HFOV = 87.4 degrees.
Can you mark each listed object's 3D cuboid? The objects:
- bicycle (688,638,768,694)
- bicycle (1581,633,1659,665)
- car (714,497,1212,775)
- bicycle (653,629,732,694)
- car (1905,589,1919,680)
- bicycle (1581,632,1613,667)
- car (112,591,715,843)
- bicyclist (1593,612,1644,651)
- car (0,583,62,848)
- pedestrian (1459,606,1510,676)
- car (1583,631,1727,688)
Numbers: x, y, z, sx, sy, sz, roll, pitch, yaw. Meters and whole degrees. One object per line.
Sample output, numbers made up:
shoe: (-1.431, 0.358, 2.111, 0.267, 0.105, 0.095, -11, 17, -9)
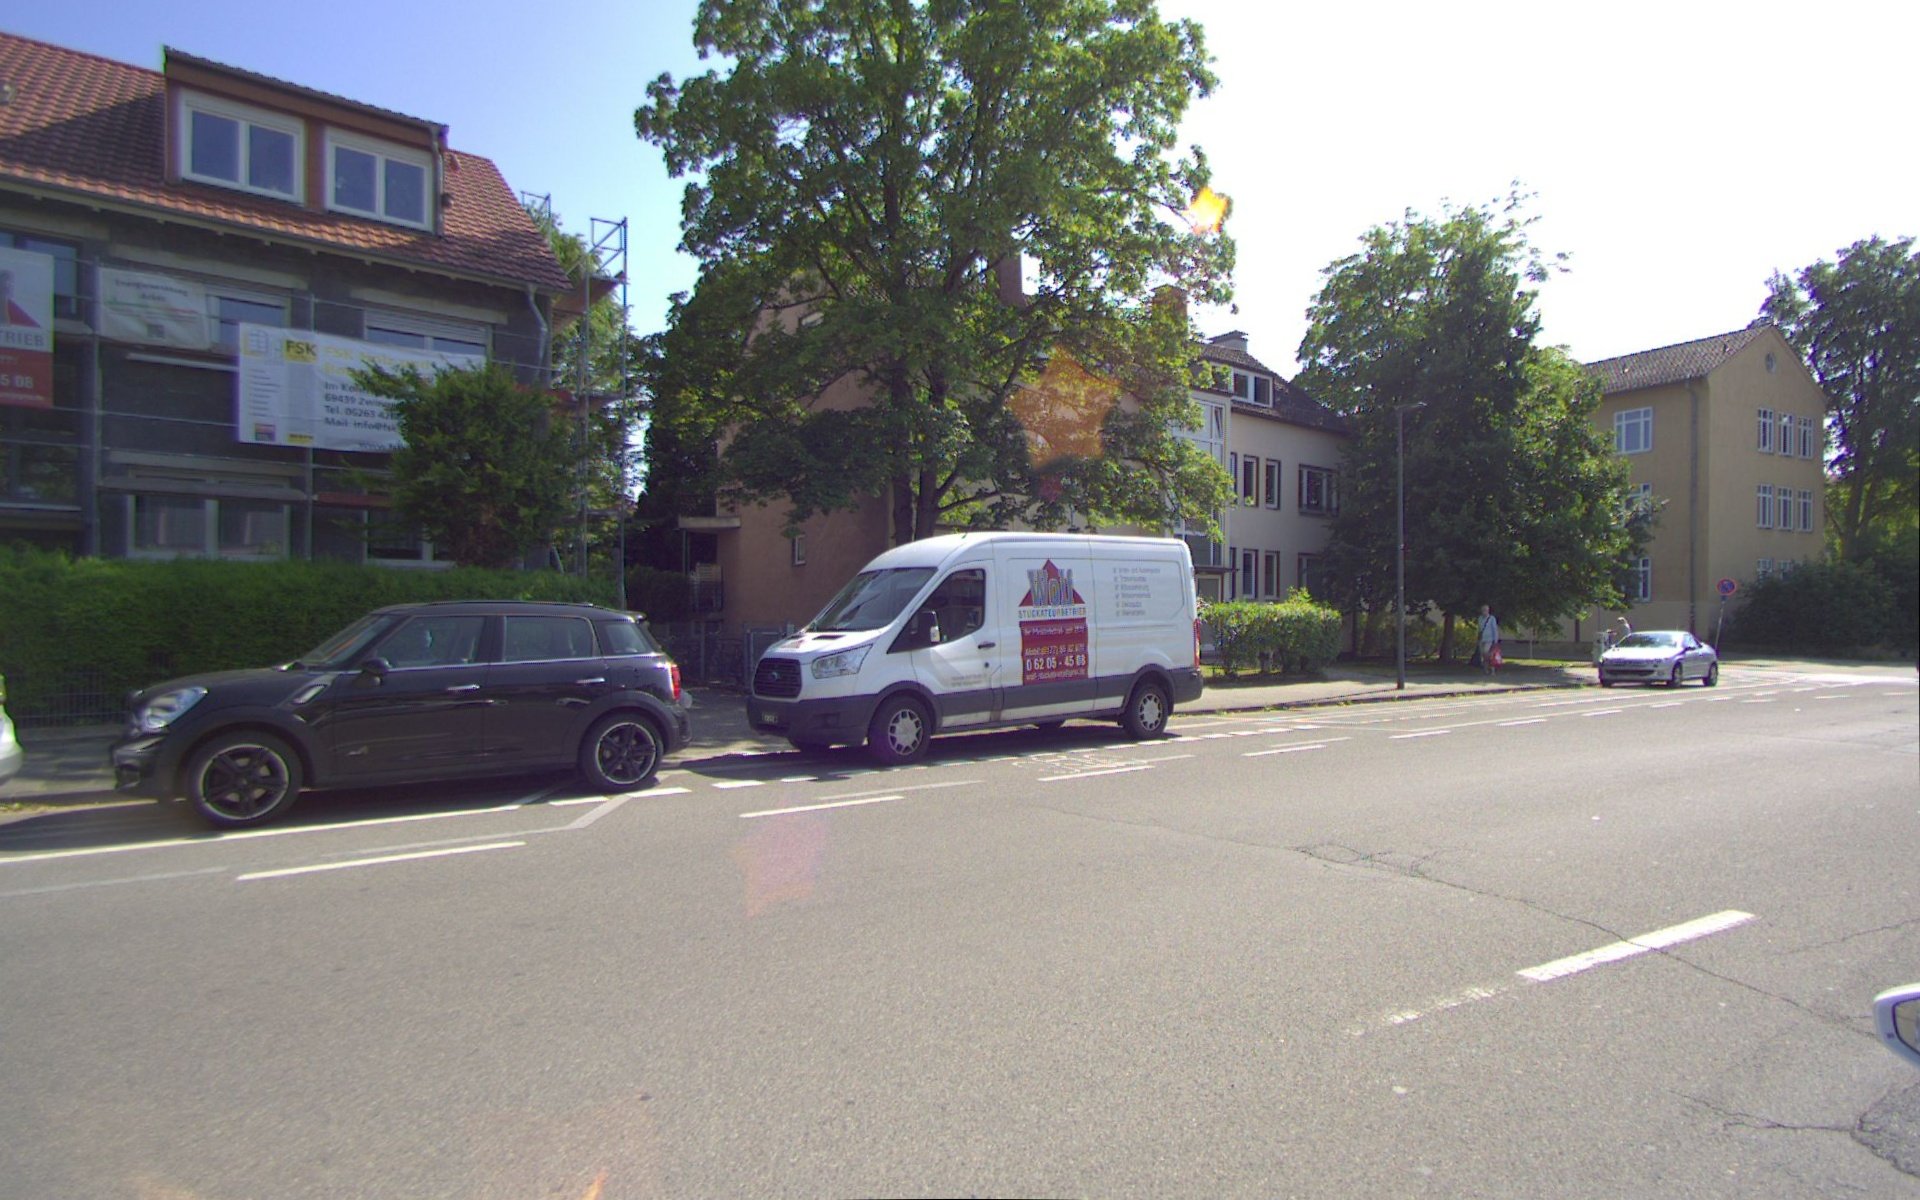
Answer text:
bicycle: (-4.880, 1.336, 20.980, 0.767, 1.014, 2.676, 1, -1, -33)
bicycle: (24.694, 1.808, 37.654, 0.943, 1.128, 2.548, 0, -1, -10)
car: (0.289, 0.375, 11.823, 5.901, 2.529, 2.073, 1, -2, -39)
bicycle: (-5.516, 1.223, 20.551, 0.767, 1.186, 2.676, 1, -1, -33)
car: (28.270, 0.897, 25.834, 2.238, 2.557, 6.137, 0, -2, 1)
bicycle: (21.136, 1.624, 33.355, 0.370, 1.095, 1.717, 0, 0, 13)
car: (-4.197, 0.773, 8.170, 3.960, 1.579, 1.709, 1, -2, -35)
bicyclist: (24.674, 1.182, 37.646, 0.942, 1.422, 1.354, 0, -1, -8)
car: (-8.055, 0.689, 5.384, 4.626, 1.579, 1.709, 1, -2, -35)
pedestrian: (13.856, 1.060, 26.558, 0.717, 1.803, 0.969, 1, -1, -31)
car: (17.417, 1.434, 25.128, 3.960, 1.283, 1.709, 1, -2, -35)
